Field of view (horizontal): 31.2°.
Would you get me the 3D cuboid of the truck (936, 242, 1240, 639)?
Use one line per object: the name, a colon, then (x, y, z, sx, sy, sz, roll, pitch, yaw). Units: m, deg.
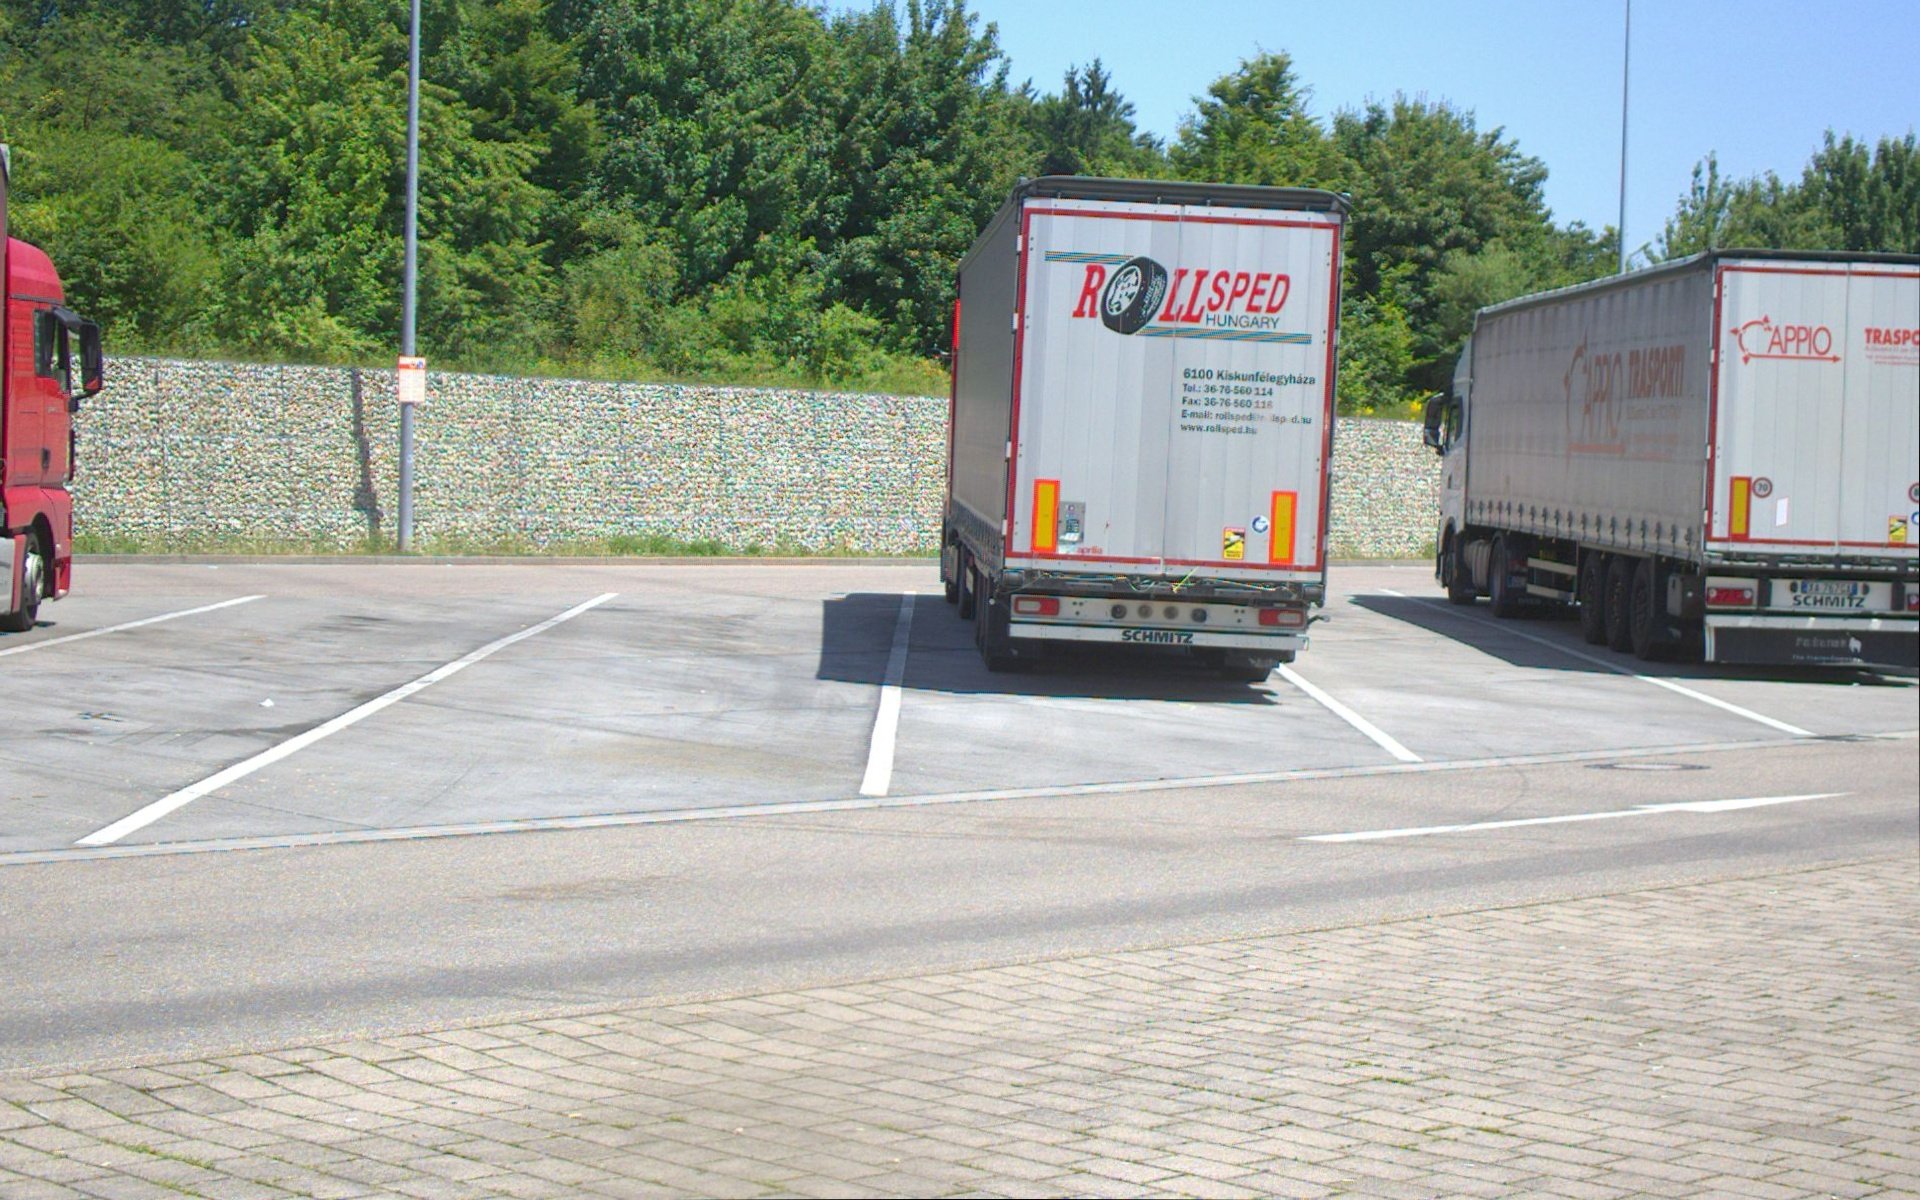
truck: (1.268, -1.700, 37.718, 2.871, 3.967, 6.030, 1, 2, -2)

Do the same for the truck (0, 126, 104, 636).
truck: (-9.171, -1.800, 28.357, 2.805, 4.119, 5.894, 1, 2, -1)

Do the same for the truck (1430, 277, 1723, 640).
truck: (7.983, -1.835, 45.231, 2.661, 4.437, 5.864, 1, 2, -1)

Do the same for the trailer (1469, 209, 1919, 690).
trailer: (8.115, -1.591, 38.272, 2.681, 4.437, 12.831, 1, 2, -1)

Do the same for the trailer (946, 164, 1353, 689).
trailer: (1.433, -1.509, 32.067, 2.897, 4.000, 11.318, 1, 2, -1)

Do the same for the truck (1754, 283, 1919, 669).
truck: (11.734, -1.350, 38.767, 2.587, 4.211, 11.971, 1, 1, -1)
